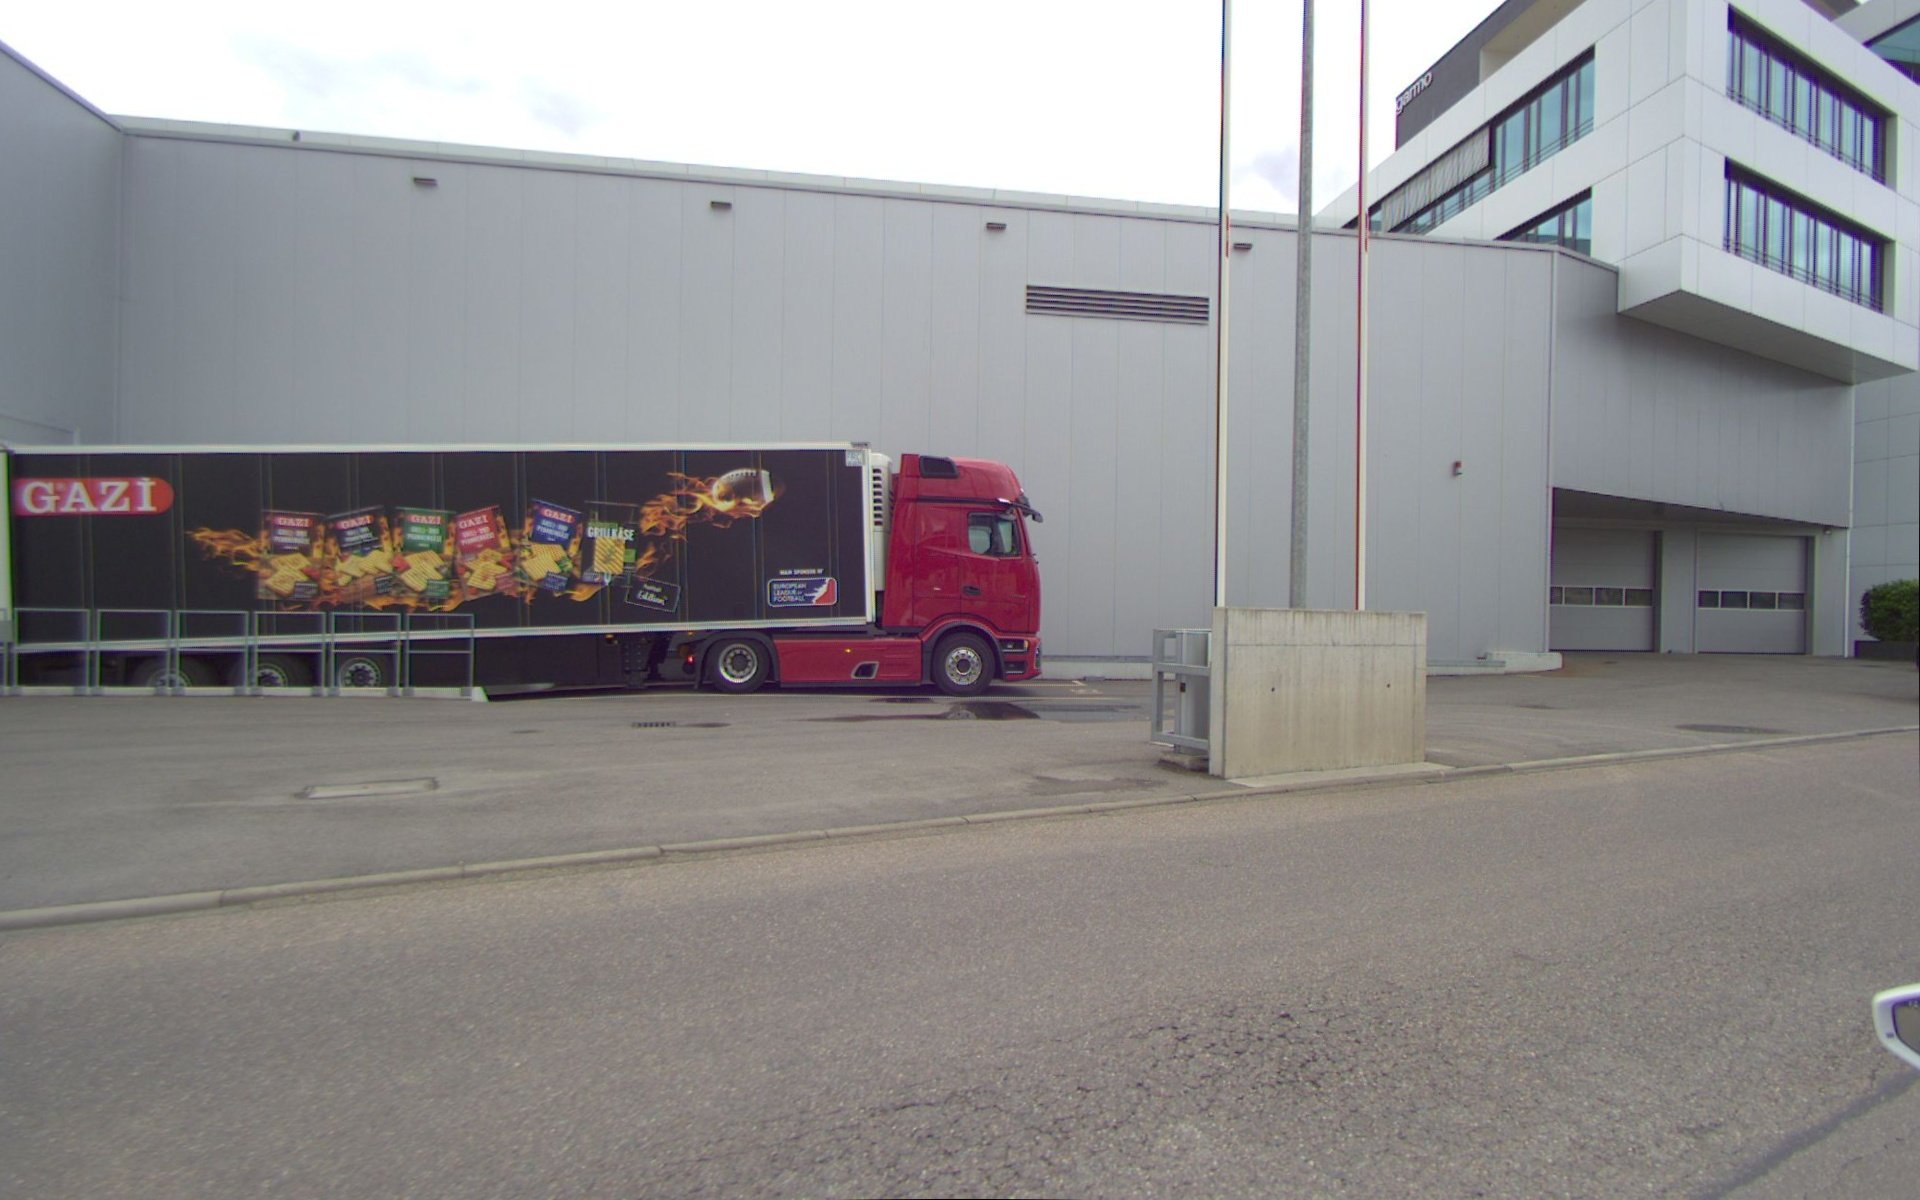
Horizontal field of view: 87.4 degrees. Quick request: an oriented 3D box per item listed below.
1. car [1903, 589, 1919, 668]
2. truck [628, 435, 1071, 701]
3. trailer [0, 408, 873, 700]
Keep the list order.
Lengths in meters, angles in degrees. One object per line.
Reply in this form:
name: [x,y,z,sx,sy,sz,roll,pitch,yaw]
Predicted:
car: [23.233,0.692,22.840,3.139,1.785,1.643,1,1,-28]
truck: [-1.843,-0.442,17.337,6.963,4.085,2.747,1,0,-9]
trailer: [-7.732,-0.554,16.398,12.387,4.085,2.747,1,0,-9]
